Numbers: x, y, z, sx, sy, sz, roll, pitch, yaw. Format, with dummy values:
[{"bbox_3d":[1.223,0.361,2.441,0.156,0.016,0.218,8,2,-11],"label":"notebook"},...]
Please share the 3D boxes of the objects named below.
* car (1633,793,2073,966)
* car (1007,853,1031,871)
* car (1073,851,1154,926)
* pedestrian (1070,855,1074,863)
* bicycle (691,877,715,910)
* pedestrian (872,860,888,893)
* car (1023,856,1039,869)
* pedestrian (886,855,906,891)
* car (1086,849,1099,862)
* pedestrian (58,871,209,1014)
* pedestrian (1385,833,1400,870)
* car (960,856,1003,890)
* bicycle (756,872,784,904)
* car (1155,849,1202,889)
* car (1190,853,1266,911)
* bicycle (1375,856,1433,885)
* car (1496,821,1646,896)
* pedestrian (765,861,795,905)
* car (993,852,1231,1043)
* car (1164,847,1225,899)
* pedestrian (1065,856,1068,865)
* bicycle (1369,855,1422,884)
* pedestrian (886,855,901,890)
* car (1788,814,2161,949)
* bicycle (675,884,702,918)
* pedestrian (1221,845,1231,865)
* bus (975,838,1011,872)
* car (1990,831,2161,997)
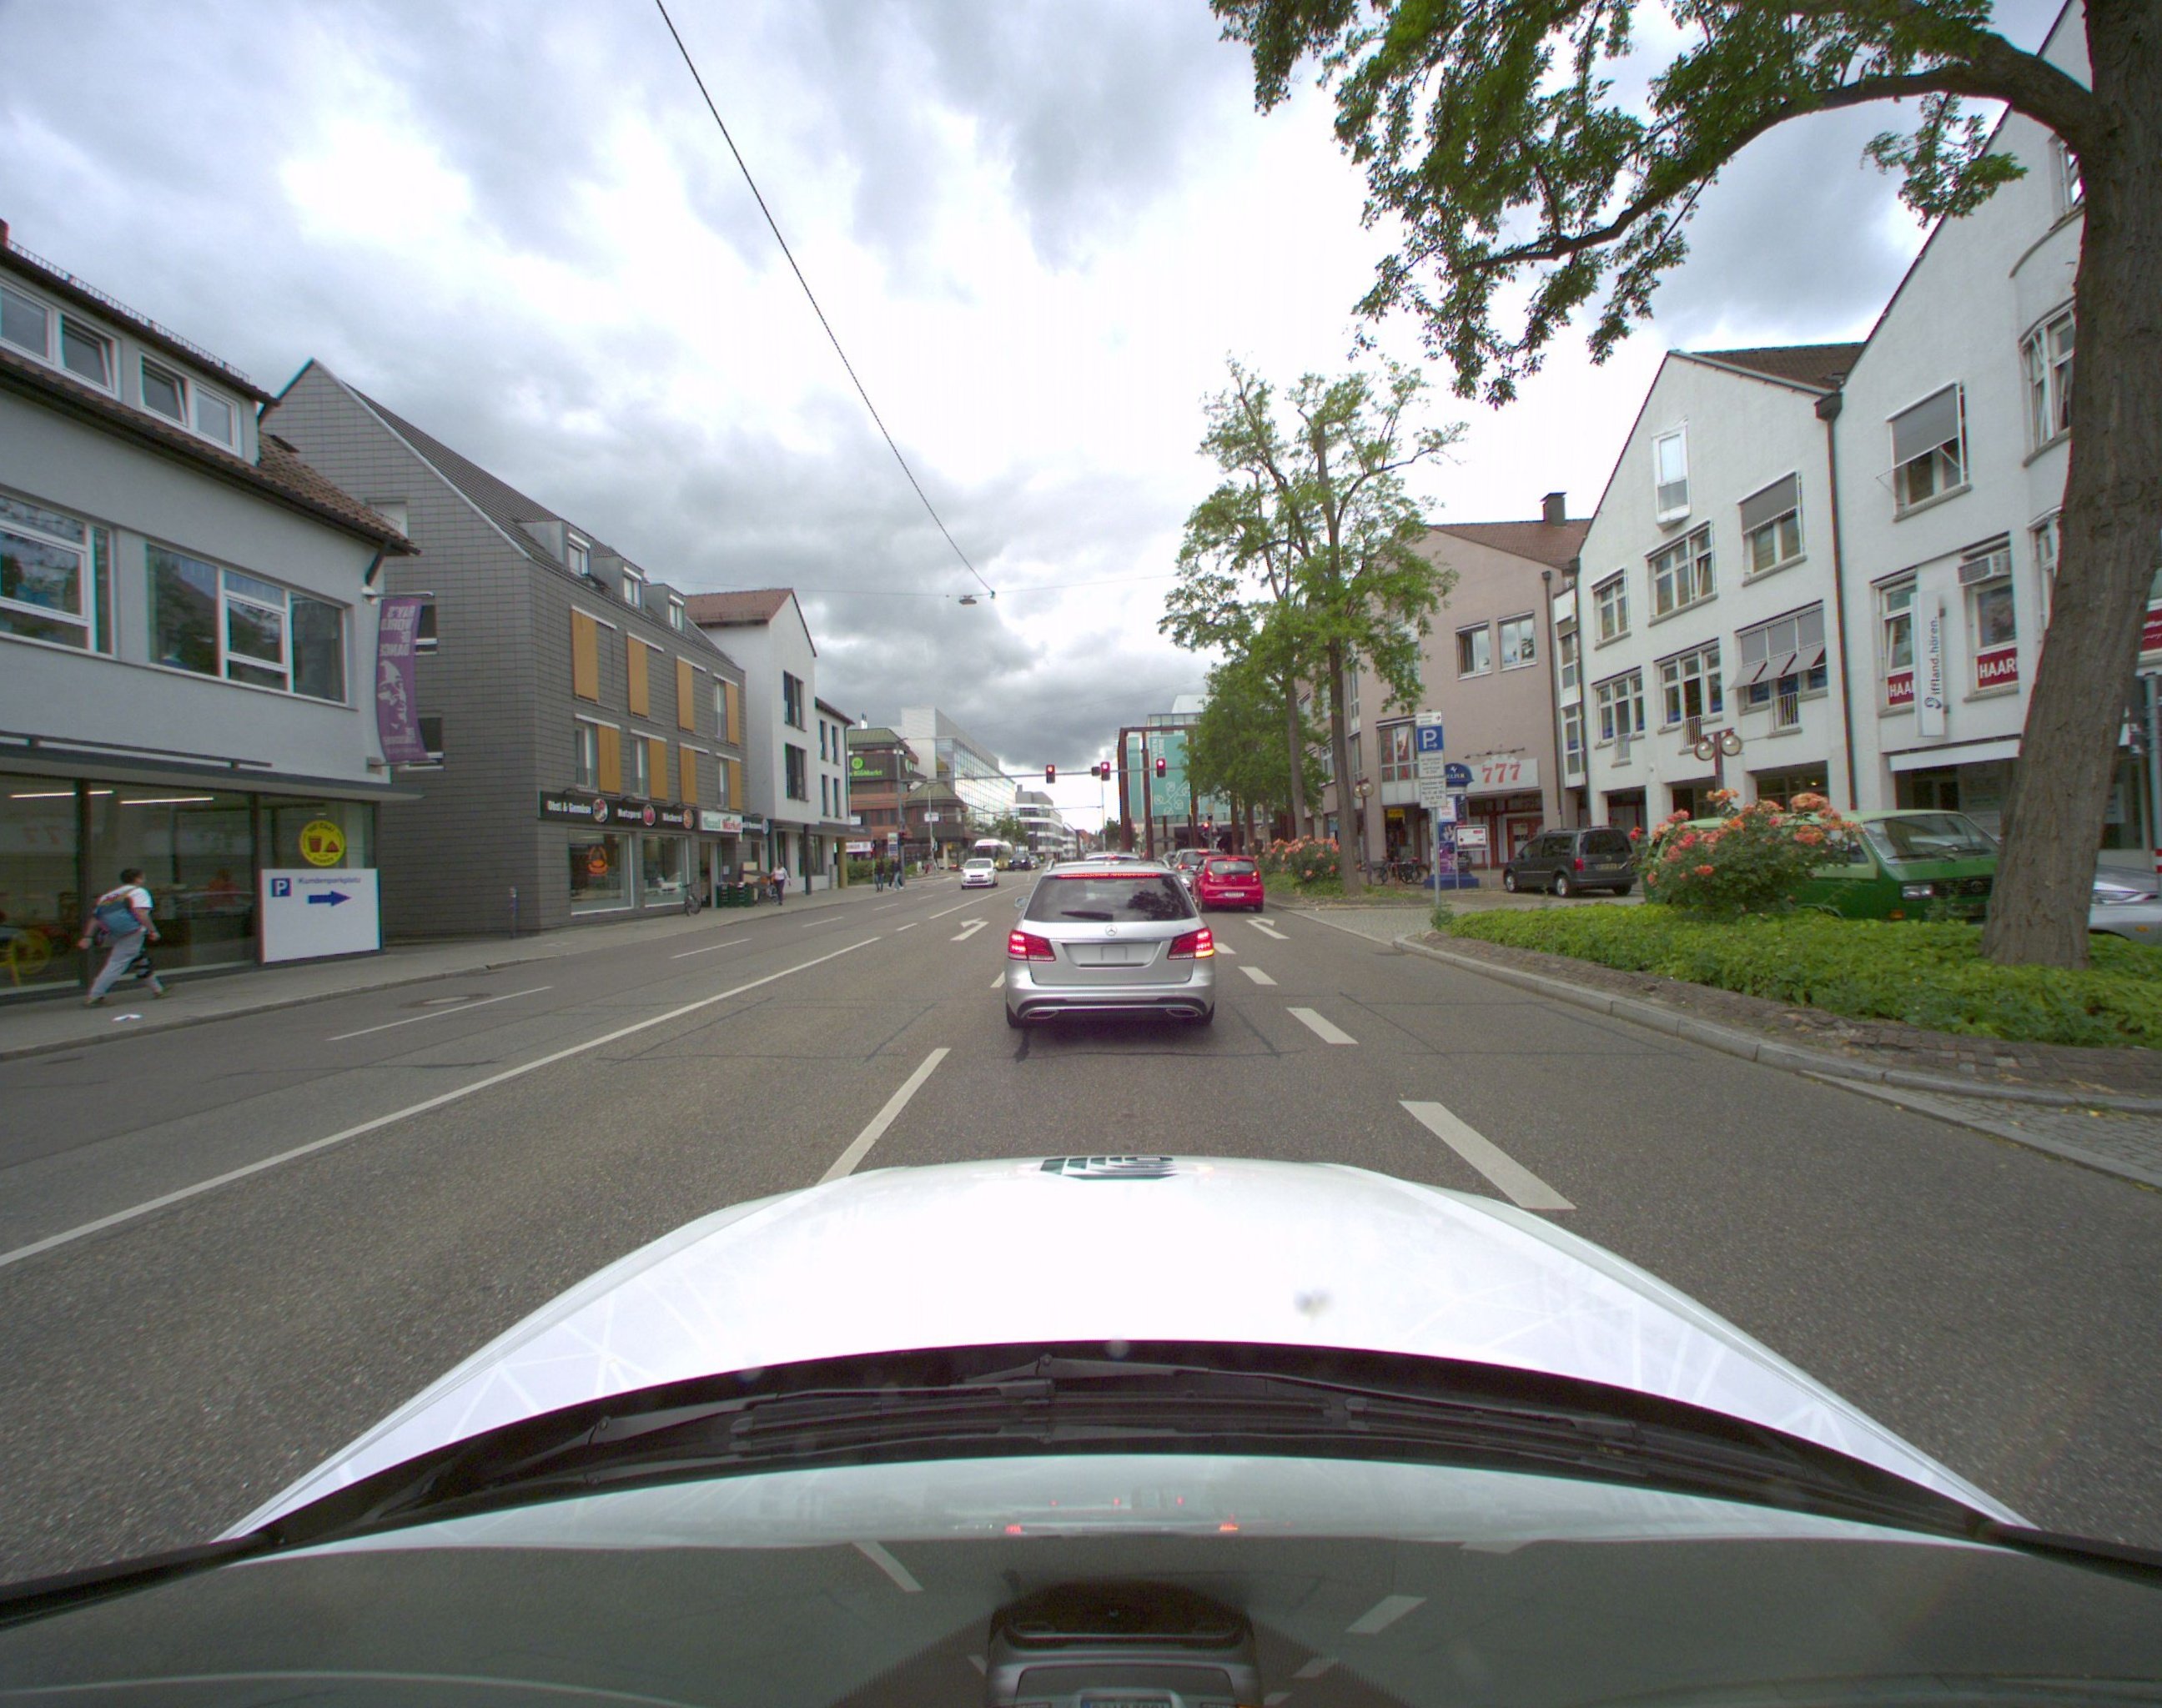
[{"bbox_3d":[10.469,0.292,11.697,1.874,1.876,4.605,-4,0,0],"label":"car"},{"bbox_3d":[-6.268,0.783,83.052,1.986,1.706,4.065,-2,0,1],"label":"car"},{"bbox_3d":[0.728,0.704,18.440,1.633,1.527,3.395,-1,0,2],"label":"car"},{"bbox_3d":[-1.824,1.028,165.146,0.515,1.733,0.491,-2,0,19],"label":"pedestrian"},{"bbox_3d":[-13.770,1.423,29.696,0.386,1.127,1.286,-2,0,-8],"label":"bicycle"},{"bbox_3d":[-10.022,1.112,40.605,0.651,1.650,0.557,-2,0,-9],"label":"pedestrian"},{"bbox_3d":[-5.535,0.913,90.388,1.549,1.392,3.288,-2,0,1],"label":"car"},{"bbox_3d":[-9.566,0.987,42.140,0.675,1.790,0.653,-2,0,43],"label":"pedestrian"},{"bbox_3d":[1.859,0.275,128.147,1.986,1.949,4.951,-2,0,1],"label":"car"},{"bbox_3d":[-12.073,1.089,10.418,0.751,1.705,0.981,1,0,2],"label":"pedestrian"},{"bbox_3d":[15.758,-0.112,41.192,0.644,1.834,0.614,-2,0,24],"label":"pedestrian"},{"bbox_3d":[-4.885,0.908,40.377,1.568,1.488,3.465,-3,0,1],"label":"car"},{"bbox_3d":[-12.277,1.325,32.191,0.385,1.186,1.825,-2,0,-1],"label":"bicycle"},{"bbox_3d":[4.135,0.613,34.930,1.581,1.595,3.868,0,0,0],"label":"car"},{"bbox_3d":[3.888,0.707,21.998,1.580,1.443,3.350,0,0,2],"label":"car"},{"bbox_3d":[11.775,0.606,29.742,1.891,0.997,0.468,-2,0,6],"label":"bicycle"},{"bbox_3d":[13.599,0.116,22.898,1.633,1.831,3.964,-3,0,-2],"label":"car"},{"bbox_3d":[-11.198,1.068,30.306,0.725,1.610,0.753,-2,0,2],"label":"pedestrian"},{"bbox_3d":[0.320,0.718,8.395,1.808,1.448,4.372,0,0,2],"label":"car"},{"bbox_3d":[3.836,0.603,28.063,1.581,1.634,3.916,0,0,0],"label":"car"},{"bbox_3d":[-2.881,1.294,164.578,0.515,1.733,0.491,-2,0,15],"label":"pedestrian"},{"bbox_3d":[11.696,0.587,30.299,1.759,0.997,0.447,-2,0,6],"label":"bicycle"},{"bbox_3d":[-9.921,0.969,43.111,0.647,1.775,0.566,-2,0,-23],"label":"pedestrian"},{"bbox_3d":[13.126,0.302,11.867,1.790,1.542,4.394,-4,0,0],"label":"car"},{"bbox_3d":[-12.190,1.455,25.327,0.325,0.954,1.479,-2,0,-9],"label":"bicycle"},{"bbox_3d":[12.535,0.085,70.427,0.652,1.650,0.557,-2,0,-13],"label":"pedestrian"},{"bbox_3d":[-9.193,0.109,85.879,2.677,3.261,8.654,-2,0,1],"label":"bus"},{"bbox_3d":[10.524,0.519,6.422,1.757,1.450,4.419,-2,0,0],"label":"car"}]
